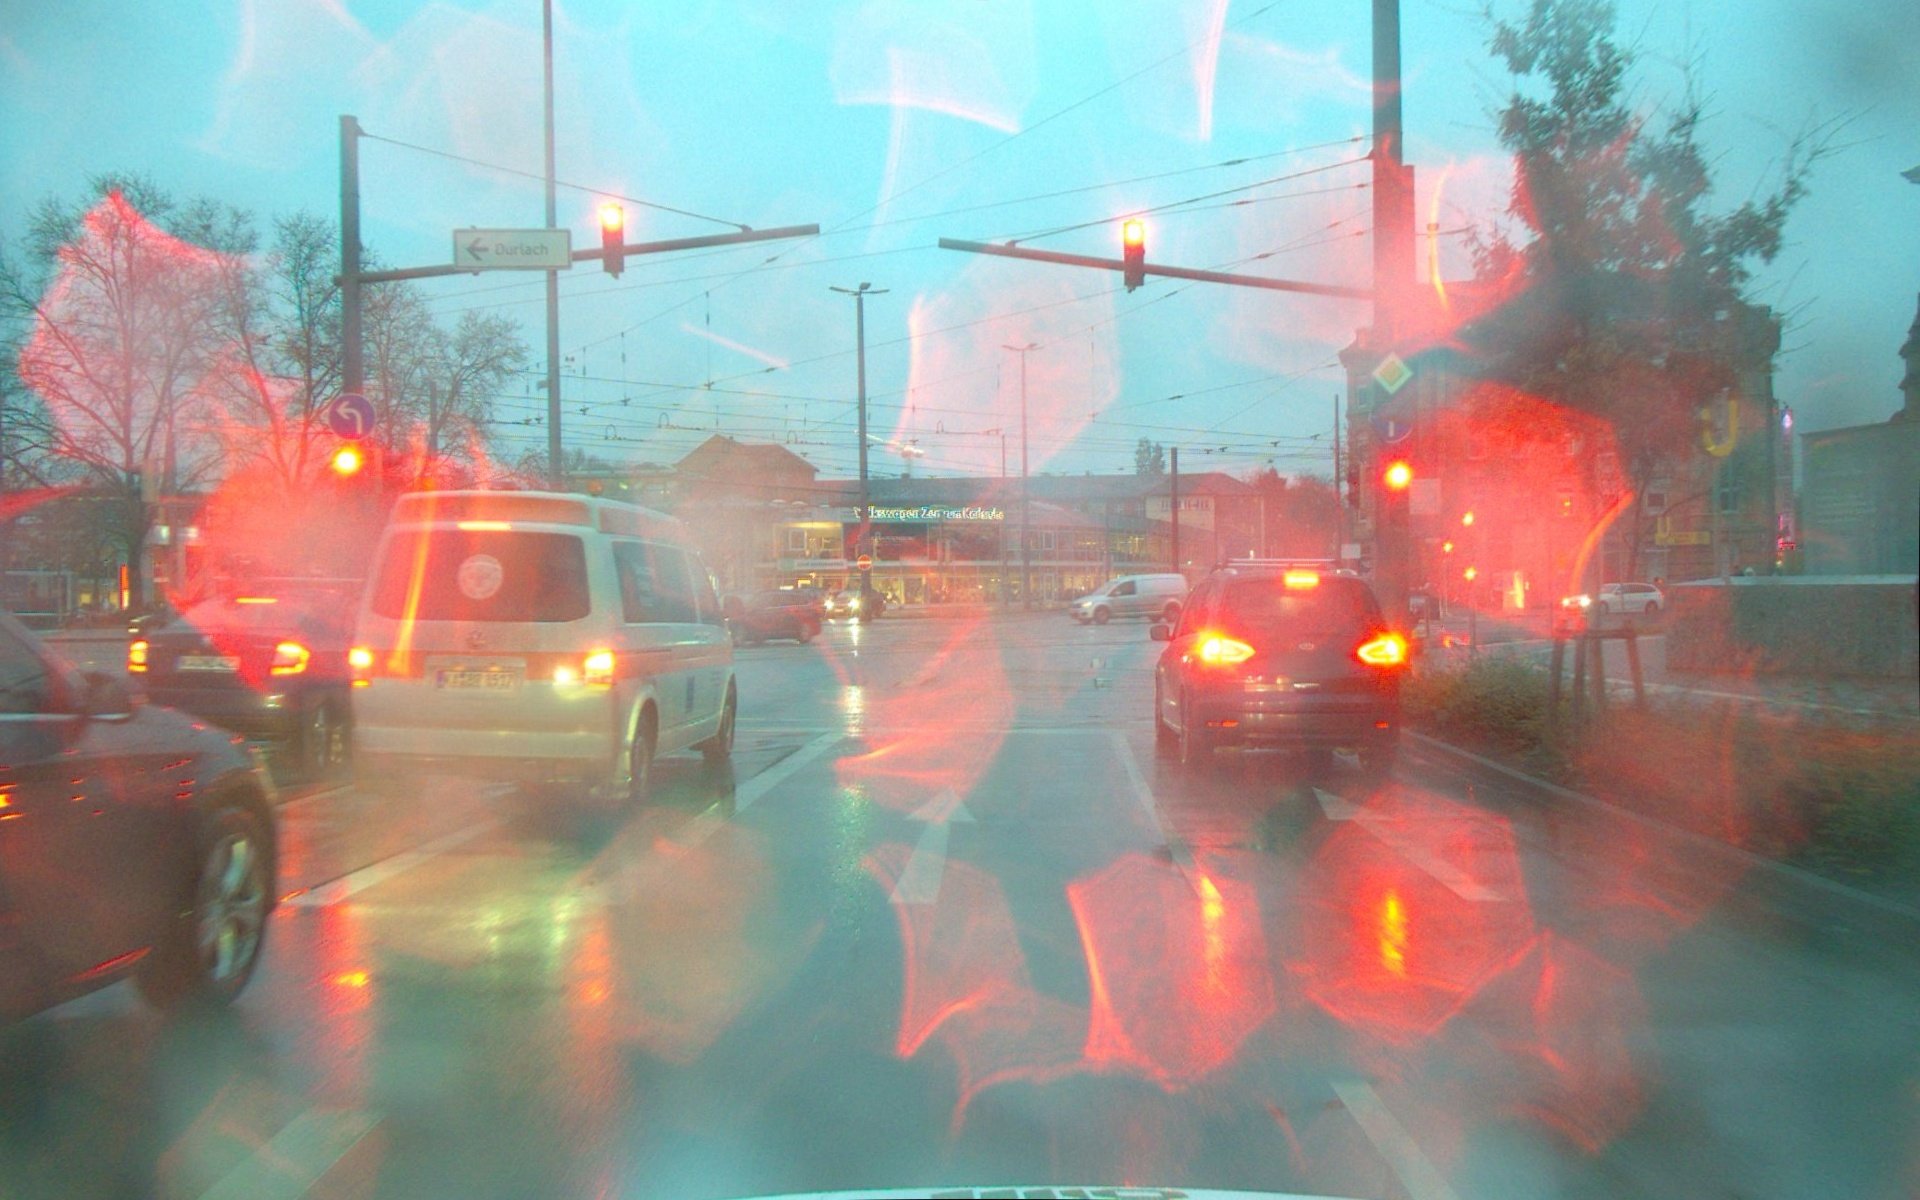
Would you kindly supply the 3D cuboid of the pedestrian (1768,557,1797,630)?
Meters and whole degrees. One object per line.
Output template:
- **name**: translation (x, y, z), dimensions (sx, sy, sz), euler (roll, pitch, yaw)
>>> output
- **pedestrian**: translation (22.565, -0.180, 45.397), dimensions (0.663, 1.984, 0.661), euler (-1, 0, 29)

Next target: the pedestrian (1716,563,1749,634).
- **pedestrian**: translation (21.987, -0.037, 47.054), dimensions (0.666, 1.984, 0.673), euler (-1, 0, 42)

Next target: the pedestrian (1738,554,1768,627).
- **pedestrian**: translation (21.954, -0.267, 45.780), dimensions (0.663, 1.984, 0.661), euler (-1, 0, 30)

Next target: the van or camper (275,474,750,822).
- **van or camper**: translation (-3.107, 0.291, 12.794), dimensions (2.156, 2.146, 4.988), euler (1, 0, 2)

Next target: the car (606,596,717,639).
- **car**: translation (-10.499, 0.611, 58.114), dimensions (3.739, 1.390, 1.845), euler (-1, 0, -13)

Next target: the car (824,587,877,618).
- **car**: translation (-5.507, 0.105, 83.865), dimensions (1.774, 1.472, 4.004), euler (-1, 0, 10)

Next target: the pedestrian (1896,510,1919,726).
- **pedestrian**: translation (9.105, 0.154, 15.195), dimensions (0.791, 1.963, 0.760), euler (1, 3, 25)

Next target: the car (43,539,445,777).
- **car**: translation (-6.074, 0.432, 14.597), dimensions (1.846, 1.803, 3.999), euler (0, 0, -1)

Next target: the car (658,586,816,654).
- **car**: translation (-5.698, 0.487, 42.722), dimensions (1.957, 1.630, 3.990), euler (-1, 0, 32)

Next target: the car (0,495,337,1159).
- **car**: translation (-3.212, 0.535, 3.980), dimensions (1.749, 1.628, 4.540), euler (2, 0, -1)

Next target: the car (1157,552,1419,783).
- **car**: translation (2.870, 0.537, 15.361), dimensions (1.741, 1.832, 4.426), euler (0, 0, 3)

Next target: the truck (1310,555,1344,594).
- **truck**: translation (26.736, -1.853, 120.398), dimensions (1.951, 2.738, 5.118), euler (-1, 0, 18)

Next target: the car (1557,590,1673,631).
- **car**: translation (28.369, 0.439, 71.619), dimensions (4.727, 1.686, 1.730), euler (-1, 0, -20)

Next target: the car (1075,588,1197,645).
- **car**: translation (6.759, 0.663, 63.778), dimensions (4.323, 2.049, 1.906), euler (1, -3, -10)
